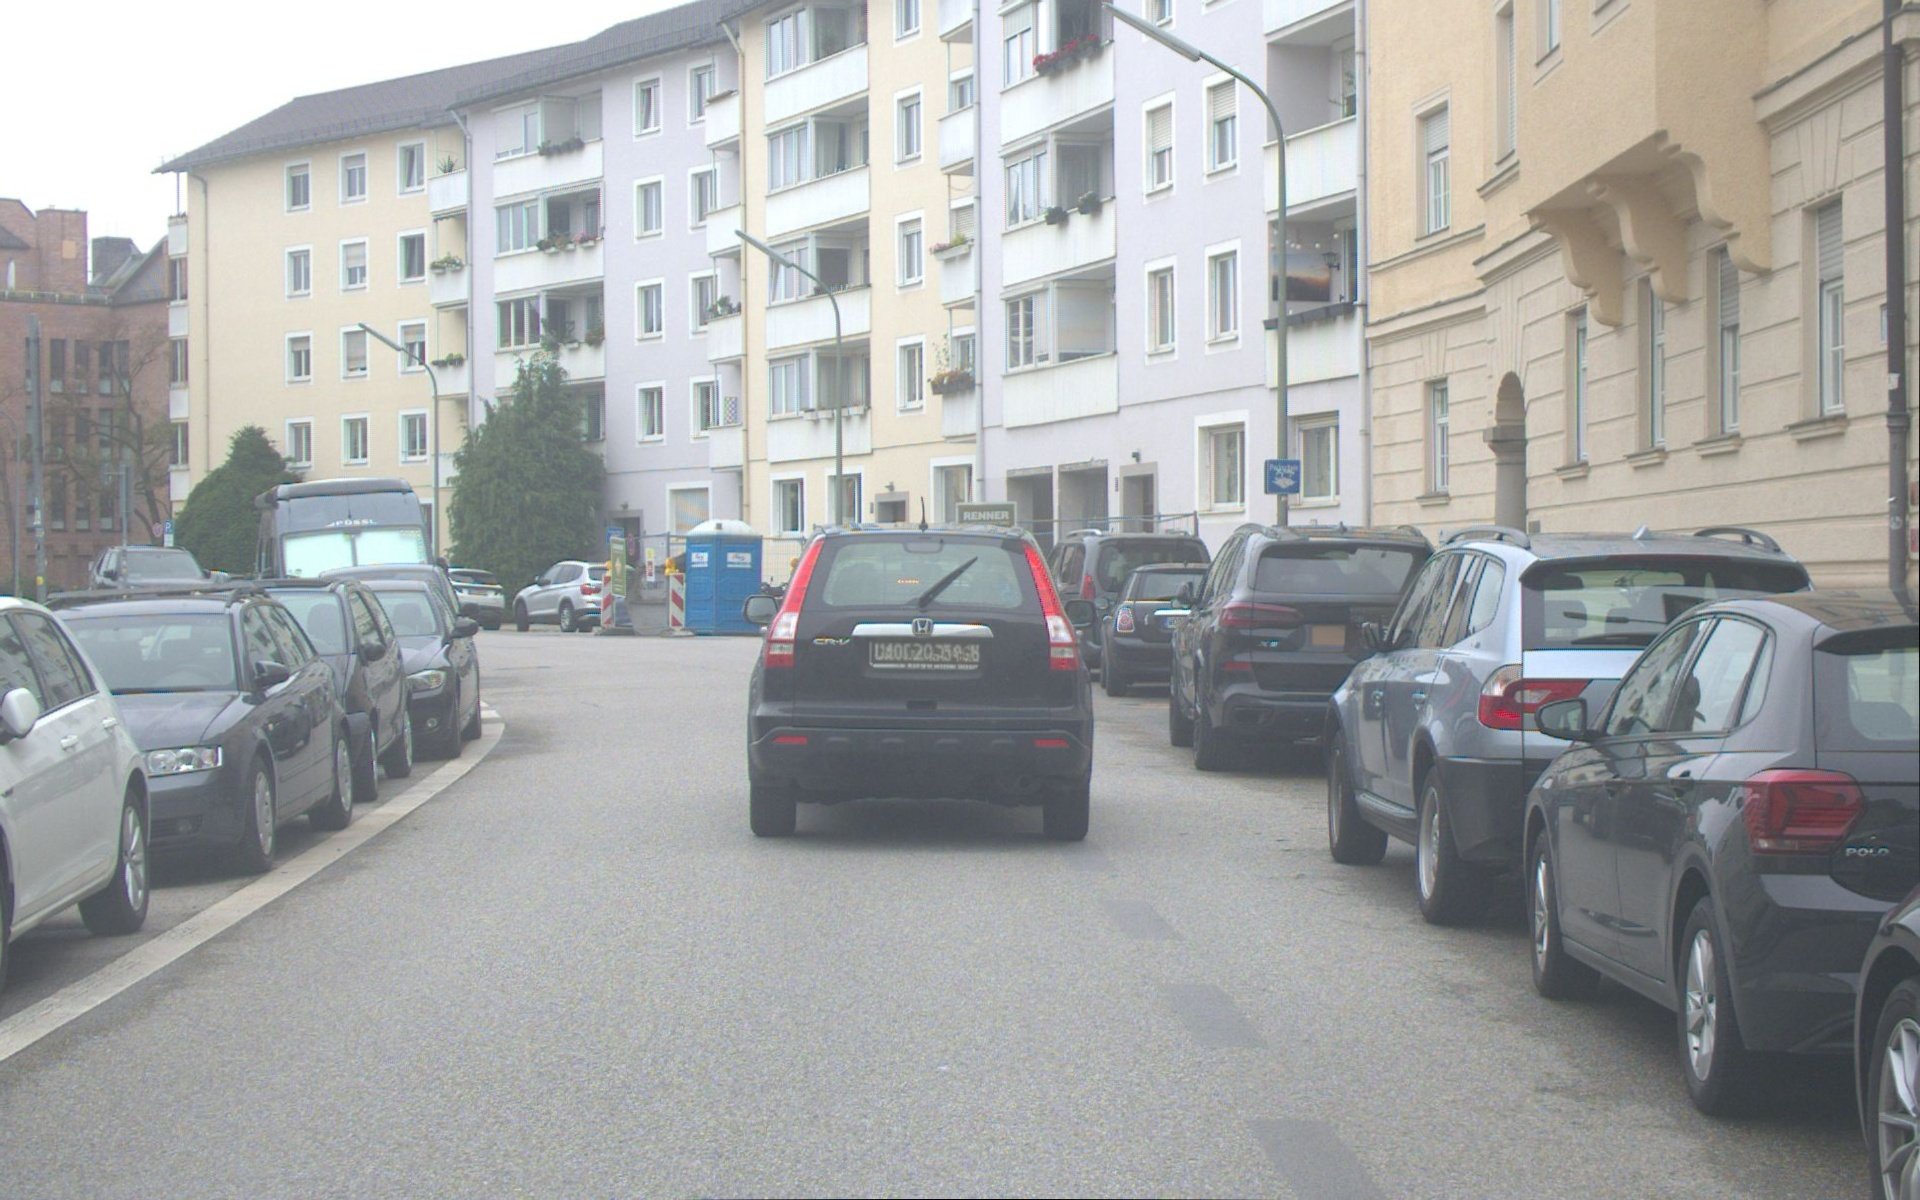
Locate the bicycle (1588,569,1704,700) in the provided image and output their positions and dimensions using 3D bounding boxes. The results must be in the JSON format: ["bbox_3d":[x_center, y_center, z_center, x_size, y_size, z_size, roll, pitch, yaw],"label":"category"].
[{"bbox_3d":[6.071,0.289,30.512,0.579,1.079,1.953,-3,1,0],"label":"bicycle"}]

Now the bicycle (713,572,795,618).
[{"bbox_3d":[-4.929,-0.119,82.301,1.865,1.087,0.566,0,0,-22],"label":"bicycle"}]

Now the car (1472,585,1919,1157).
[{"bbox_3d":[2.776,0.674,10.731,1.679,1.422,4.087,0,1,-1],"label":"car"}]

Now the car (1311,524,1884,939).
[{"bbox_3d":[2.728,0.494,15.711,1.722,1.628,4.458,0,1,-1],"label":"car"}]

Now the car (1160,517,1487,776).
[{"bbox_3d":[2.601,0.292,25.695,1.869,1.711,4.865,1,1,0],"label":"car"}]

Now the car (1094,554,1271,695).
[{"bbox_3d":[2.403,0.238,37.828,1.708,1.442,3.830,1,1,1],"label":"car"}]

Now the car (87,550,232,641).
[{"bbox_3d":[-15.436,-0.105,66.132,1.679,1.701,4.514,0,1,-27],"label":"car"}]

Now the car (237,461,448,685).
[{"bbox_3d":[-8.007,-0.376,44.127,2.163,2.632,6.019,-2,1,-14],"label":"car"}]

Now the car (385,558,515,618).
[{"bbox_3d":[-13.102,-0.312,88.211,1.724,1.478,4.000,0,1,-34],"label":"car"}]

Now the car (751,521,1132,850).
[{"bbox_3d":[-0.210,0.408,19.225,1.890,1.642,3.992,0,1,-4],"label":"car"}]

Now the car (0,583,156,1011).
[{"bbox_3d":[-4.221,0.706,12.844,1.656,1.448,4.074,-2,1,-3],"label":"car"}]

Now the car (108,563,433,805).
[{"bbox_3d":[-4.563,0.506,23.151,1.656,1.448,3.313,-2,1,-3],"label":"car"}]

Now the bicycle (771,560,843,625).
[{"bbox_3d":[-3.332,-0.182,74.603,0.968,1.384,2.564,0,1,-16],"label":"bicycle"}]

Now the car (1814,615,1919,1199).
[{"bbox_3d":[2.816,0.767,5.485,1.679,1.422,4.391,0,1,-2],"label":"car"}]

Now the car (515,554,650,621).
[{"bbox_3d":[-8.750,-0.306,79.387,1.724,1.478,4.001,0,1,-28],"label":"car"}]

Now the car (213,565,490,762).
[{"bbox_3d":[-4.861,0.452,27.979,1.799,1.401,4.456,-2,1,-5],"label":"car"}]

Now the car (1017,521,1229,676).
[{"bbox_3d":[1.972,-0.044,42.863,1.777,1.800,4.277,1,1,-9],"label":"car"}]

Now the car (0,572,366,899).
[{"bbox_3d":[-4.322,0.621,18.092,1.755,1.448,4.396,-2,1,-2],"label":"car"}]
